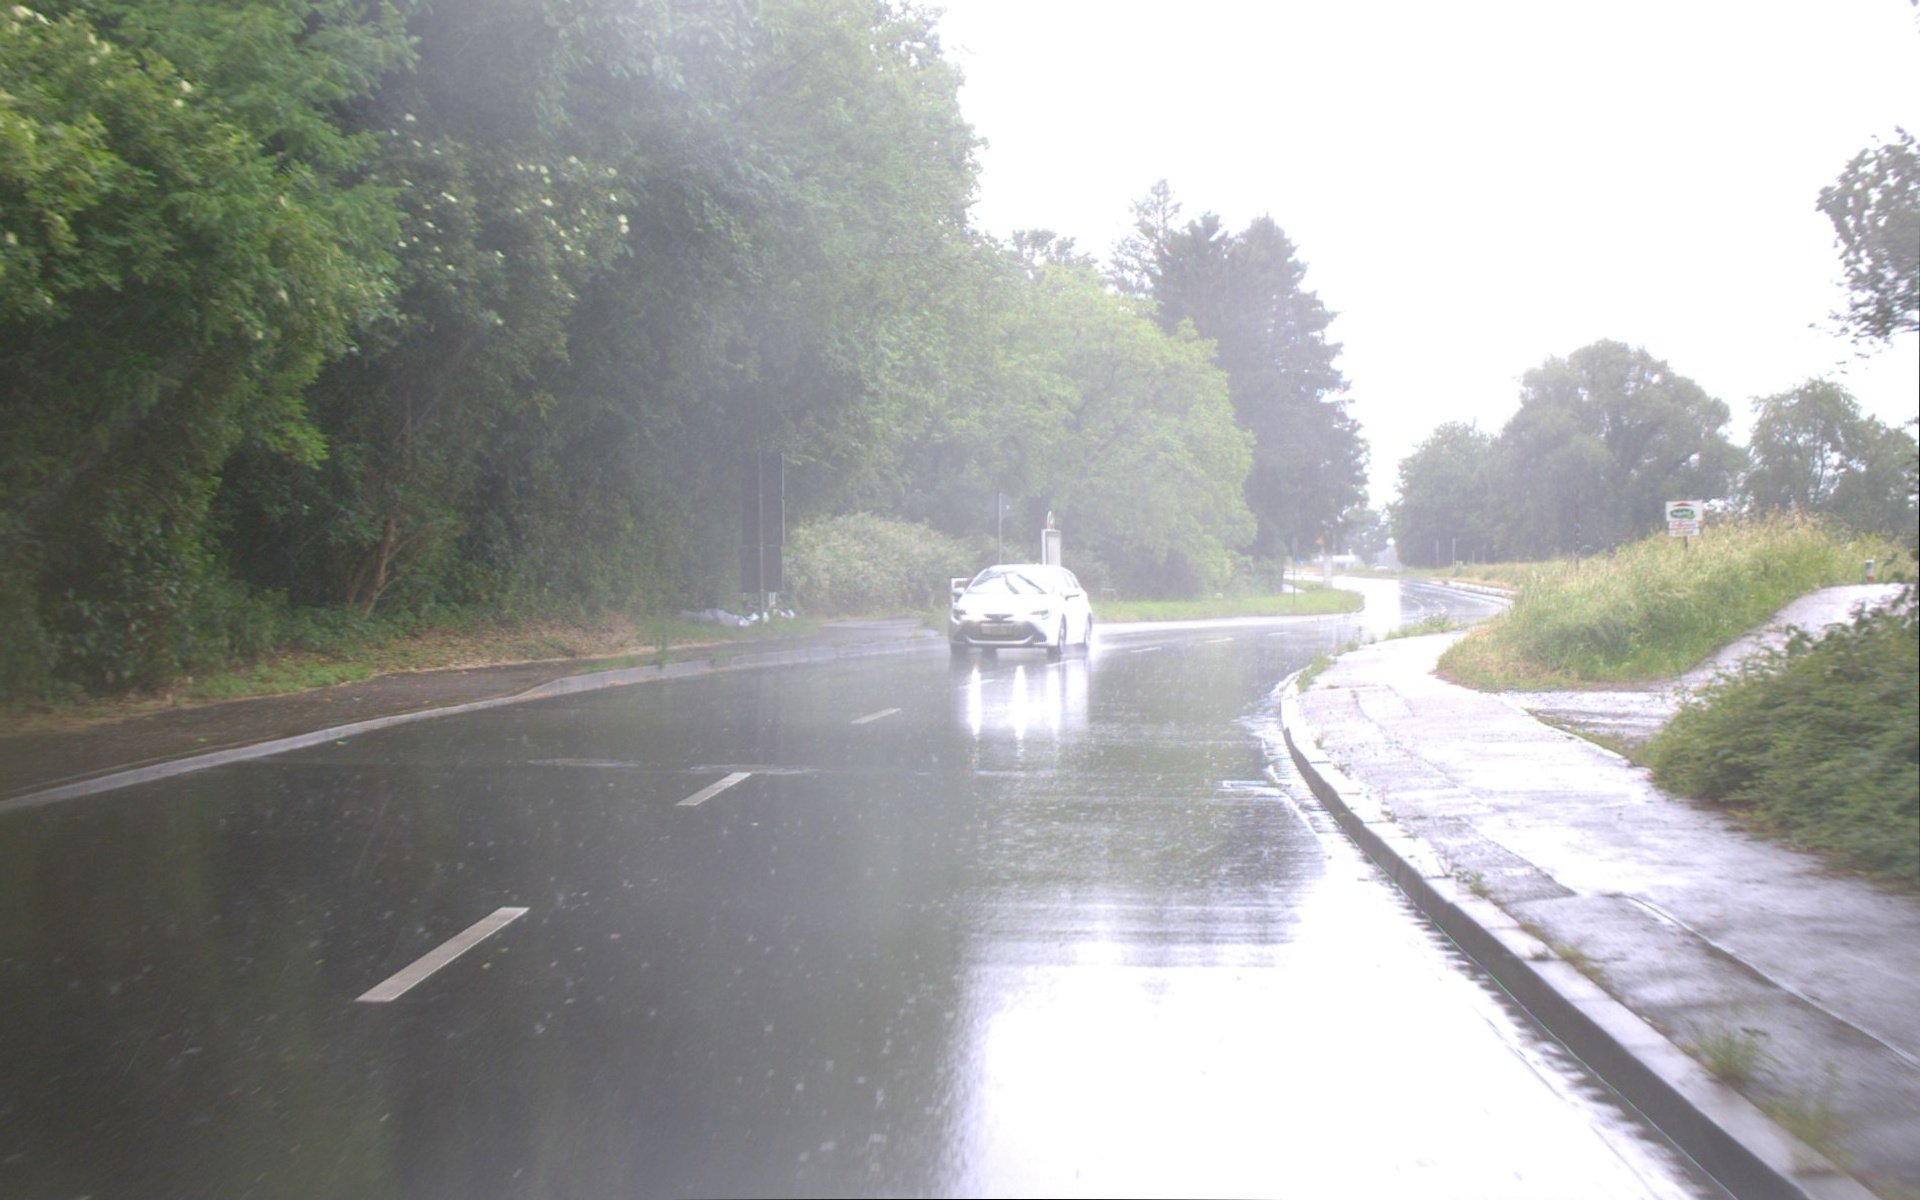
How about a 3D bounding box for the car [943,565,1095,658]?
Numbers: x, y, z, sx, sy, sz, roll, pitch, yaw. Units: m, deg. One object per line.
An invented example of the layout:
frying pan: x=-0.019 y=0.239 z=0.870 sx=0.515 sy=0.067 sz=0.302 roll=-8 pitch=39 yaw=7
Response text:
car: x=0.985 y=0.153 z=54.937 sx=1.787 sy=1.414 sz=4.632 roll=1 pitch=1 yaw=9
